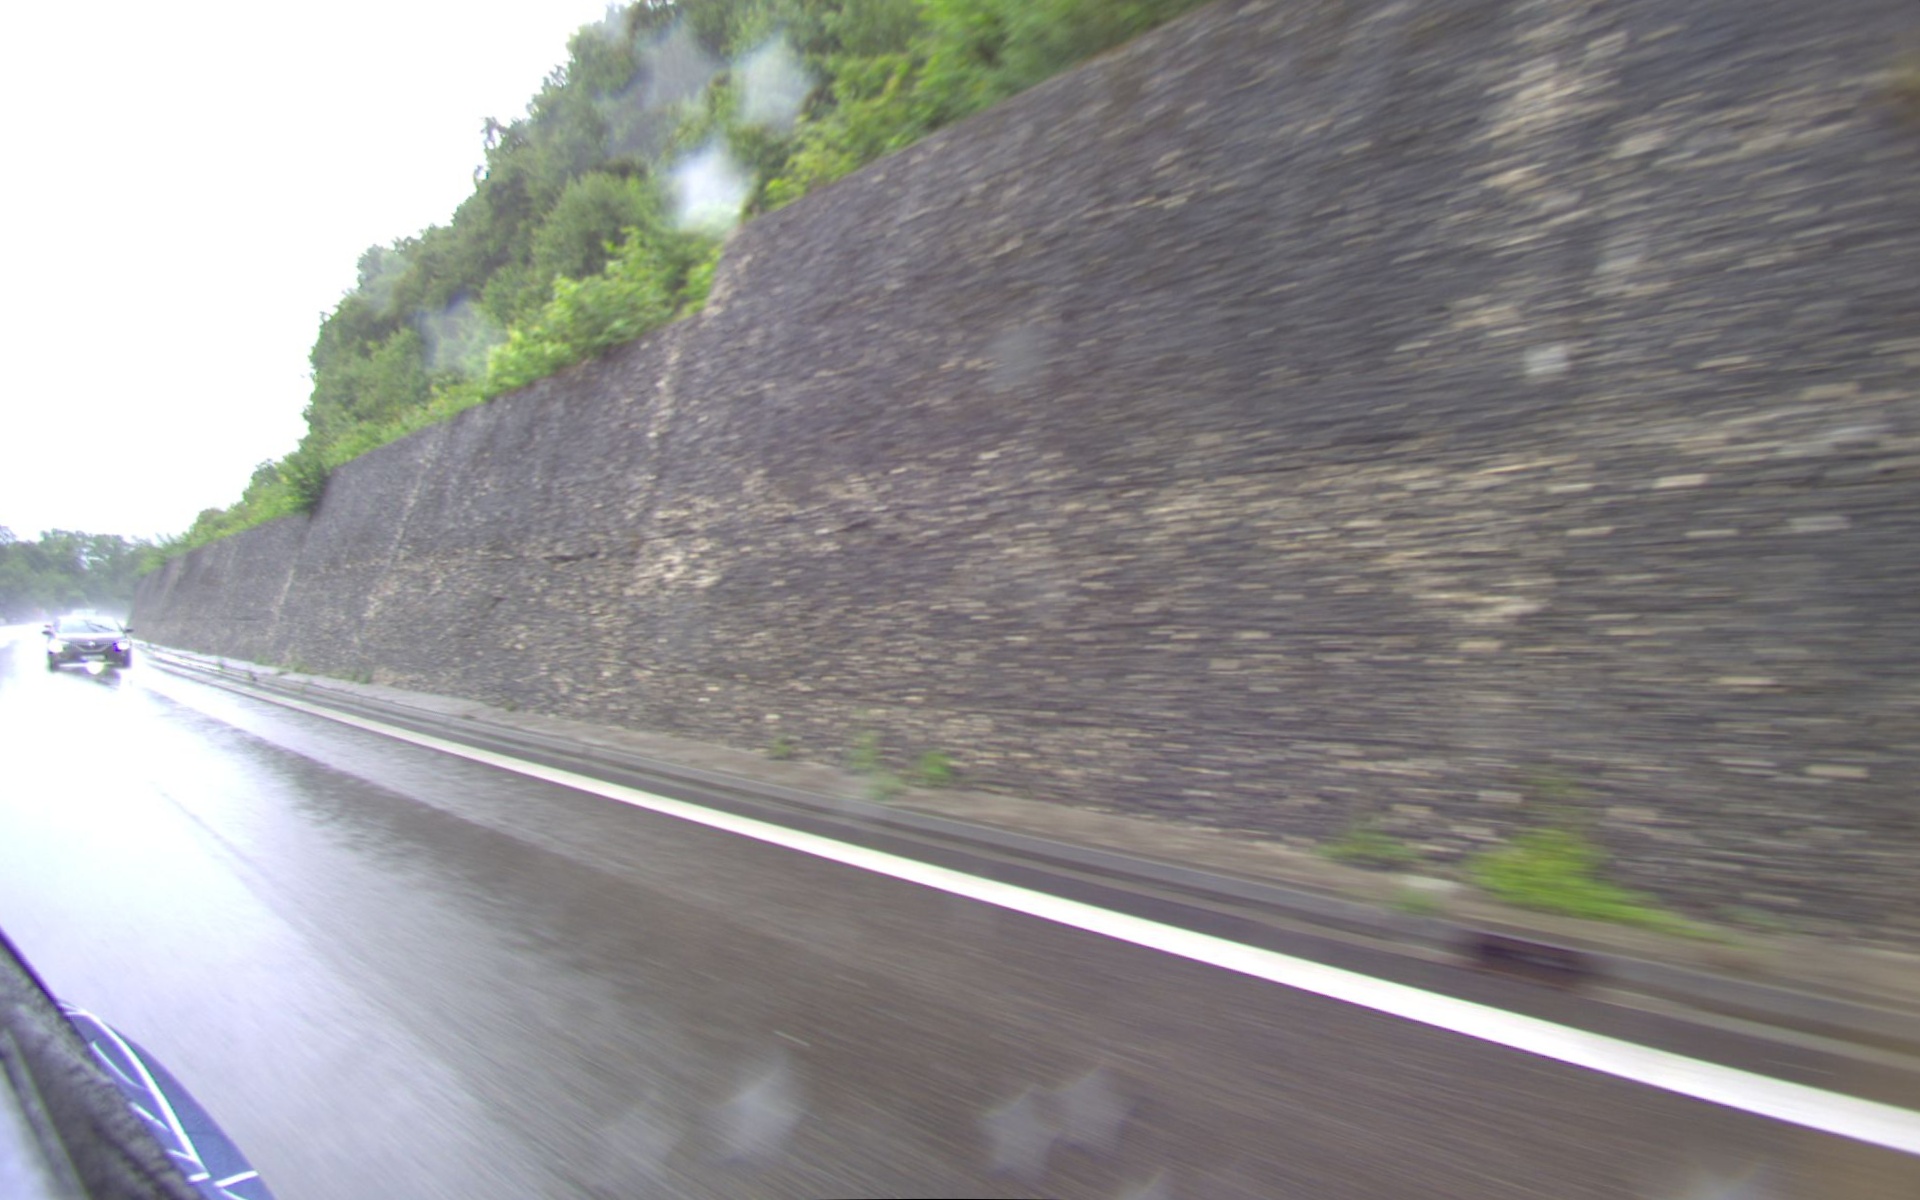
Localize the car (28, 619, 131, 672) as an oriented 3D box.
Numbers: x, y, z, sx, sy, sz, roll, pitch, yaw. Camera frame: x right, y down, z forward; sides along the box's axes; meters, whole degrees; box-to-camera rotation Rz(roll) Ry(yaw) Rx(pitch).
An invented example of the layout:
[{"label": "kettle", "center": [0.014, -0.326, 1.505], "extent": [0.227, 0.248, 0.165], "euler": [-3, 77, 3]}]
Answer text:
[{"label": "car", "center": [-25.293, 1.250, 29.032], "extent": [4.000, 1.393, 1.803], "euler": [-1, -1, 43]}]

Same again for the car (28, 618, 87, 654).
[{"label": "car", "center": [-39.573, 1.548, 44.425], "extent": [1.800, 1.393, 4.006], "euler": [-2, 1, -40]}]

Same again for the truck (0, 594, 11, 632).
[{"label": "truck", "center": [-111.367, 1.447, 115.899], "extent": [2.765, 4.338, 6.483], "euler": [1, -1, -33]}]
